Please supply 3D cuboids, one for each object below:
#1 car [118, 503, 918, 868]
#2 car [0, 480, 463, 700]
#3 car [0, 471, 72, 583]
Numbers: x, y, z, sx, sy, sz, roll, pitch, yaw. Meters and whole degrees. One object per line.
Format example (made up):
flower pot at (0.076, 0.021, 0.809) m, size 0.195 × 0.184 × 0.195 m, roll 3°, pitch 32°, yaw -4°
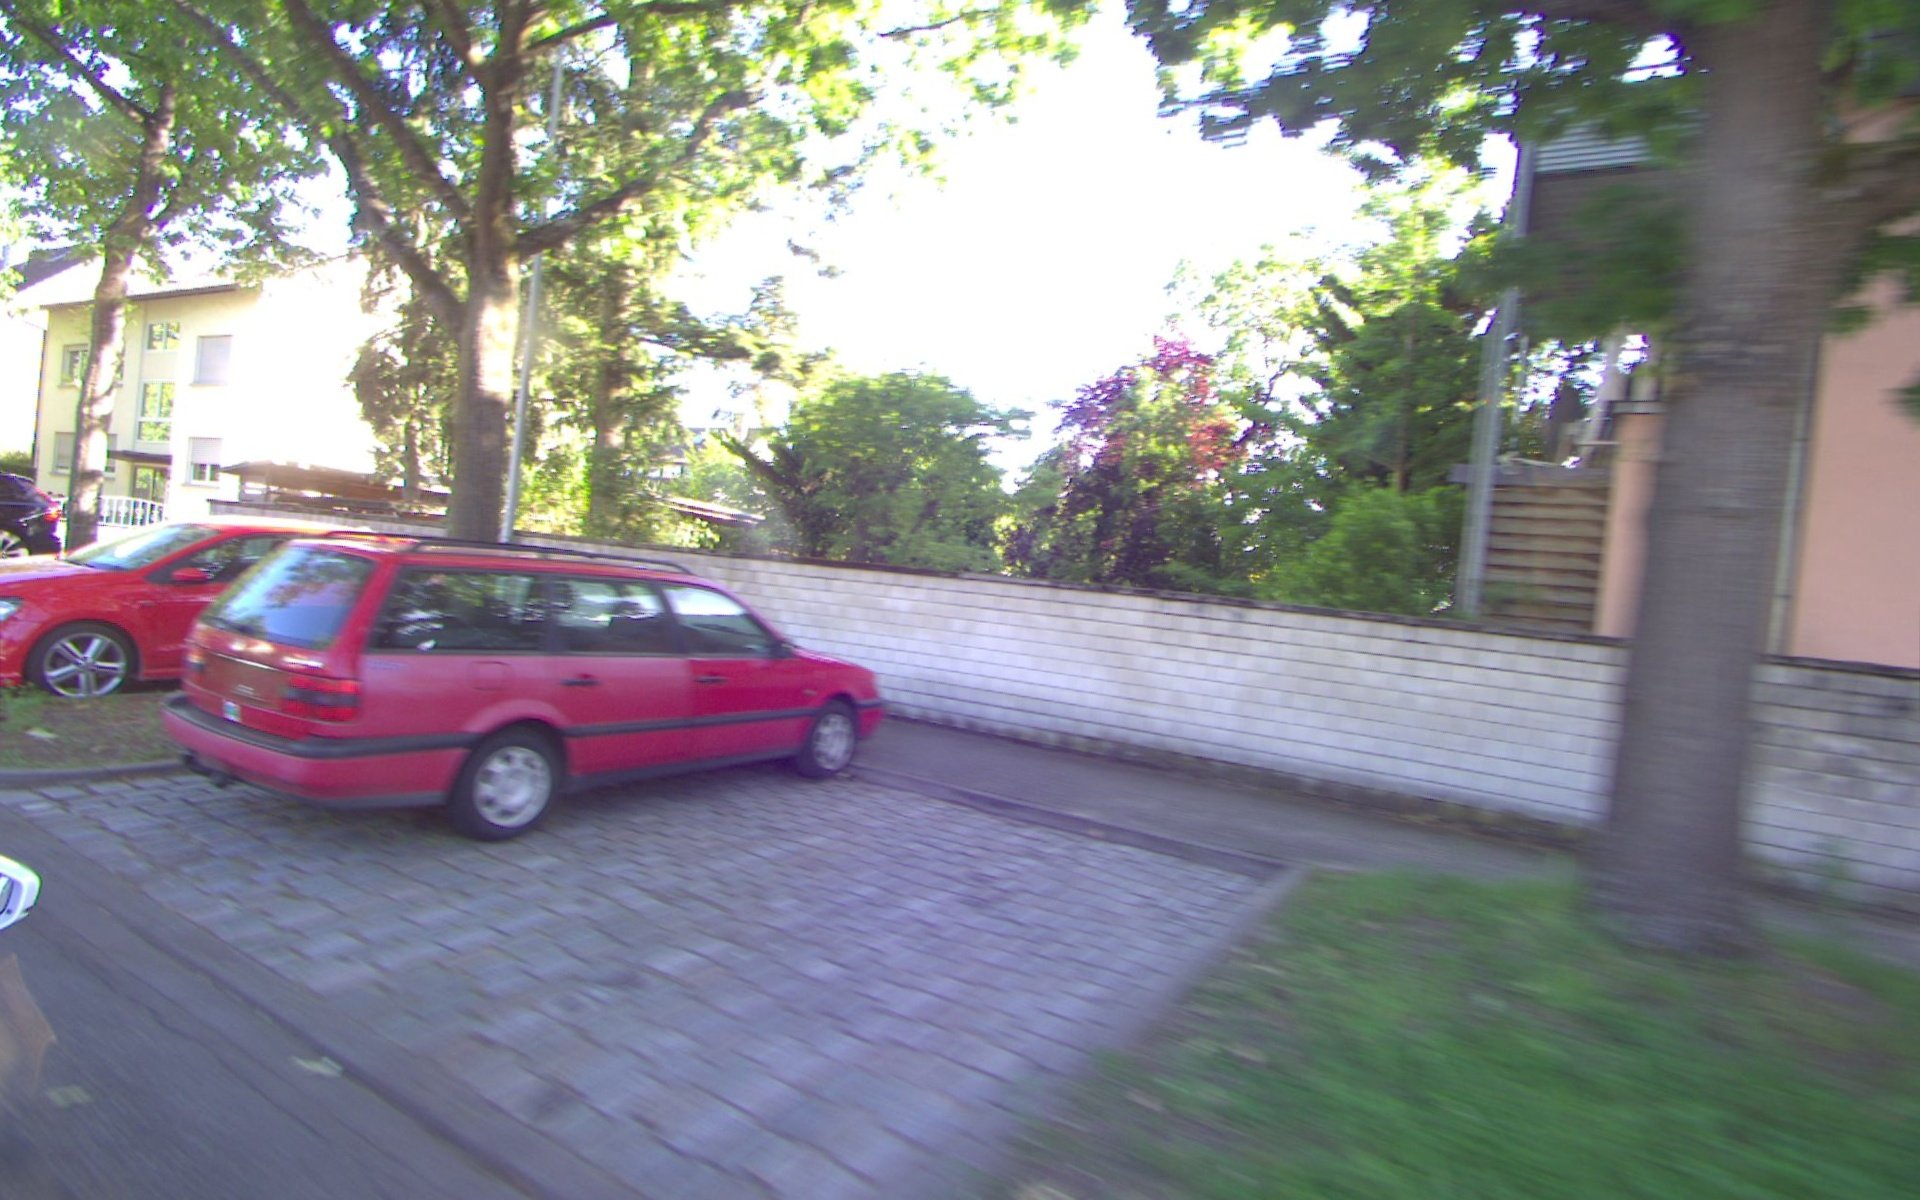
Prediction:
car at (-2.319, 0.395, 6.567) m, size 1.808 × 1.464 × 4.505 m, roll 6°, pitch 1°, yaw 31°
car at (-6.566, -0.066, 8.587) m, size 1.726 × 1.503 × 3.779 m, roll 5°, pitch 0°, yaw 31°
car at (-16.106, -1.266, 14.503) m, size 1.807 × 1.668 × 4.577 m, roll 7°, pitch 1°, yaw 29°
